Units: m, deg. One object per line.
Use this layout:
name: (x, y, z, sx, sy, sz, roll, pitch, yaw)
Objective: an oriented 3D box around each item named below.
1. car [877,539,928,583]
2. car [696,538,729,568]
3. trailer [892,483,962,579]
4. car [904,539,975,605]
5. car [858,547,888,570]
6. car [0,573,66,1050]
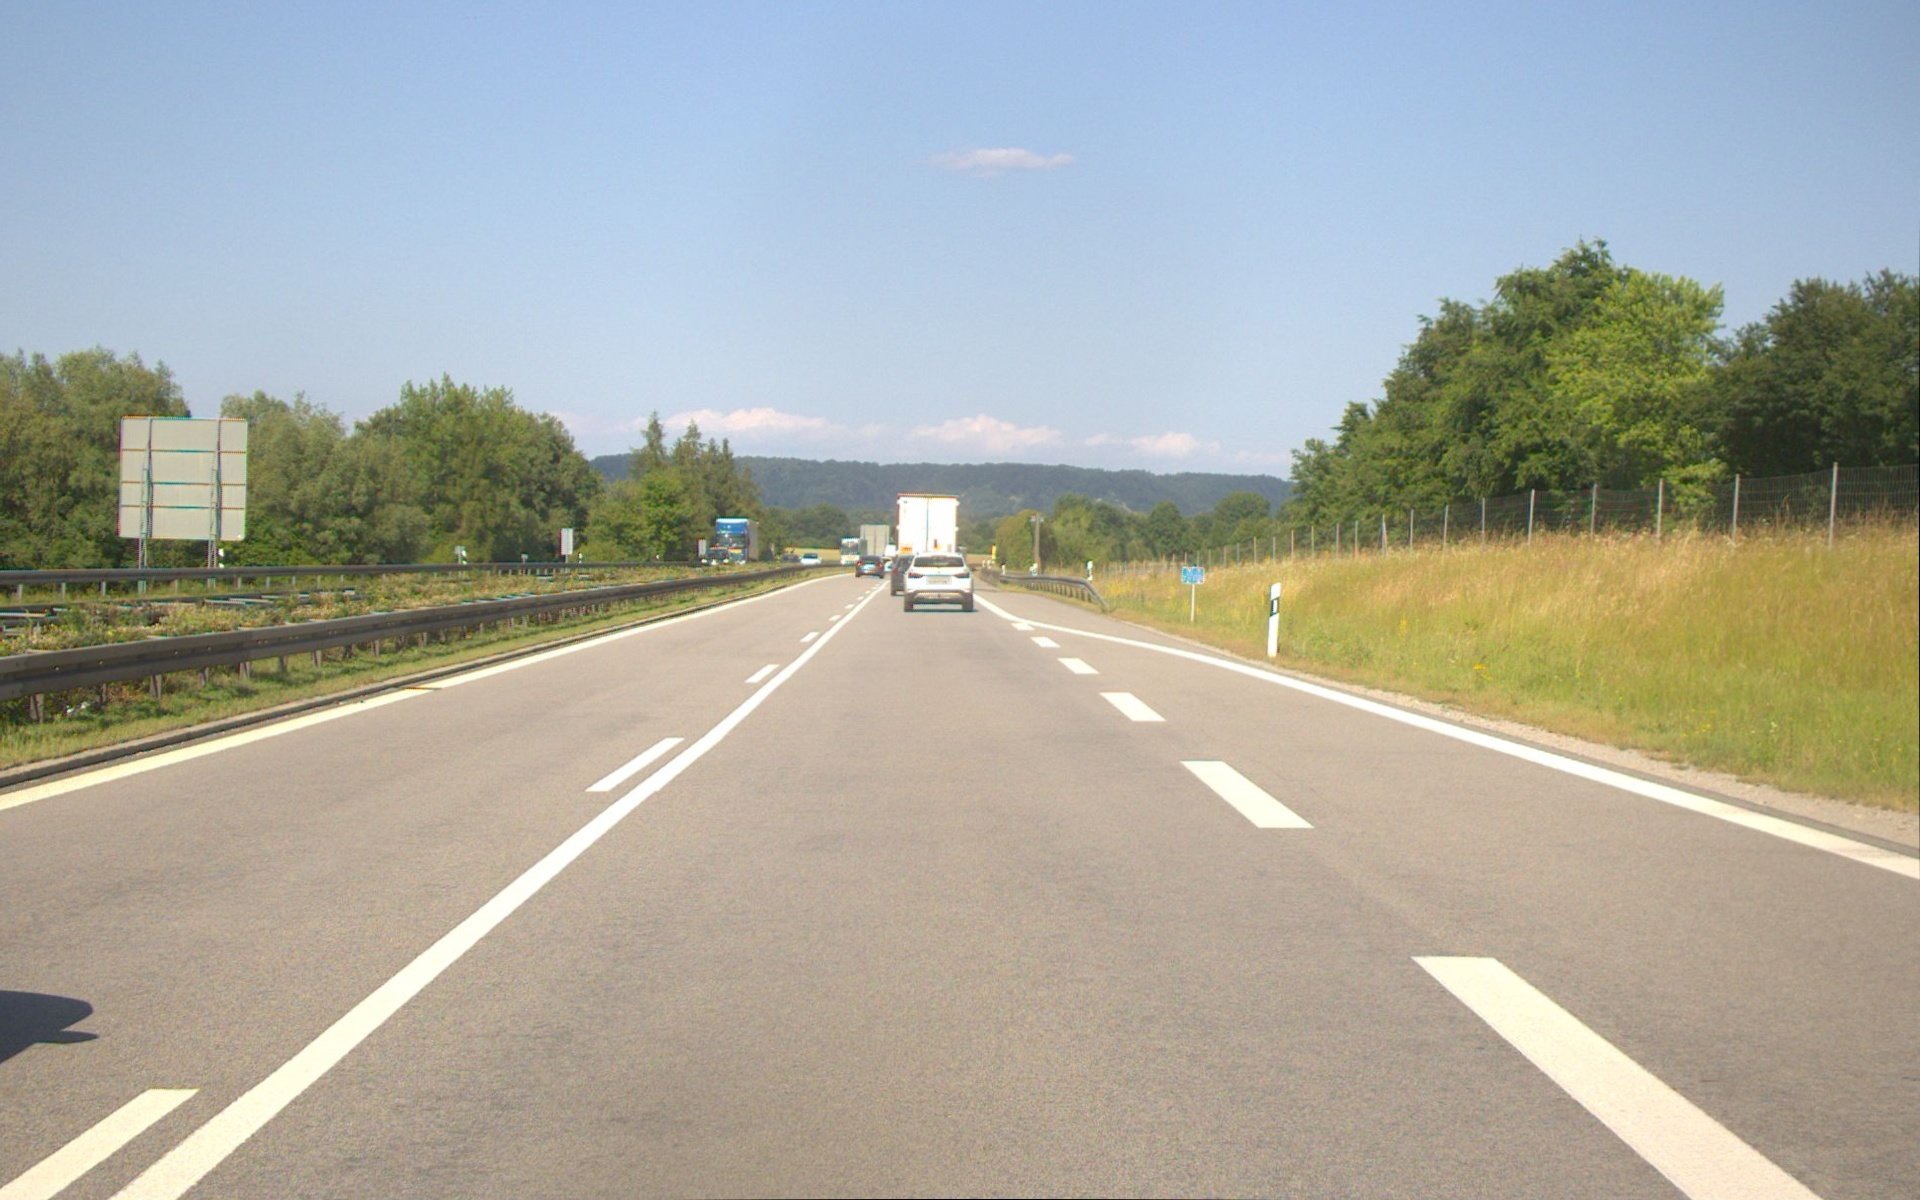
car: (-2.015, -1.389, 121.611, 1.665, 1.449, 4.544, 3, 1, 0)
car: (-16.371, -3.115, 227.500, 1.849, 1.797, 4.871, -1, 3, -1)
trailer: (-1.383, -2.990, 150.359, 2.818, 3.953, 14.160, 1, 1, 0)
car: (-0.540, -0.755, 88.775, 1.684, 1.490, 4.987, 4, 1, -1)
car: (-5.653, -2.703, 223.402, 1.771, 1.416, 4.495, 3, 1, 0)
car: (-3.769, 0.660, 8.376, 1.840, 1.416, 5.255, 0, 1, 0)
